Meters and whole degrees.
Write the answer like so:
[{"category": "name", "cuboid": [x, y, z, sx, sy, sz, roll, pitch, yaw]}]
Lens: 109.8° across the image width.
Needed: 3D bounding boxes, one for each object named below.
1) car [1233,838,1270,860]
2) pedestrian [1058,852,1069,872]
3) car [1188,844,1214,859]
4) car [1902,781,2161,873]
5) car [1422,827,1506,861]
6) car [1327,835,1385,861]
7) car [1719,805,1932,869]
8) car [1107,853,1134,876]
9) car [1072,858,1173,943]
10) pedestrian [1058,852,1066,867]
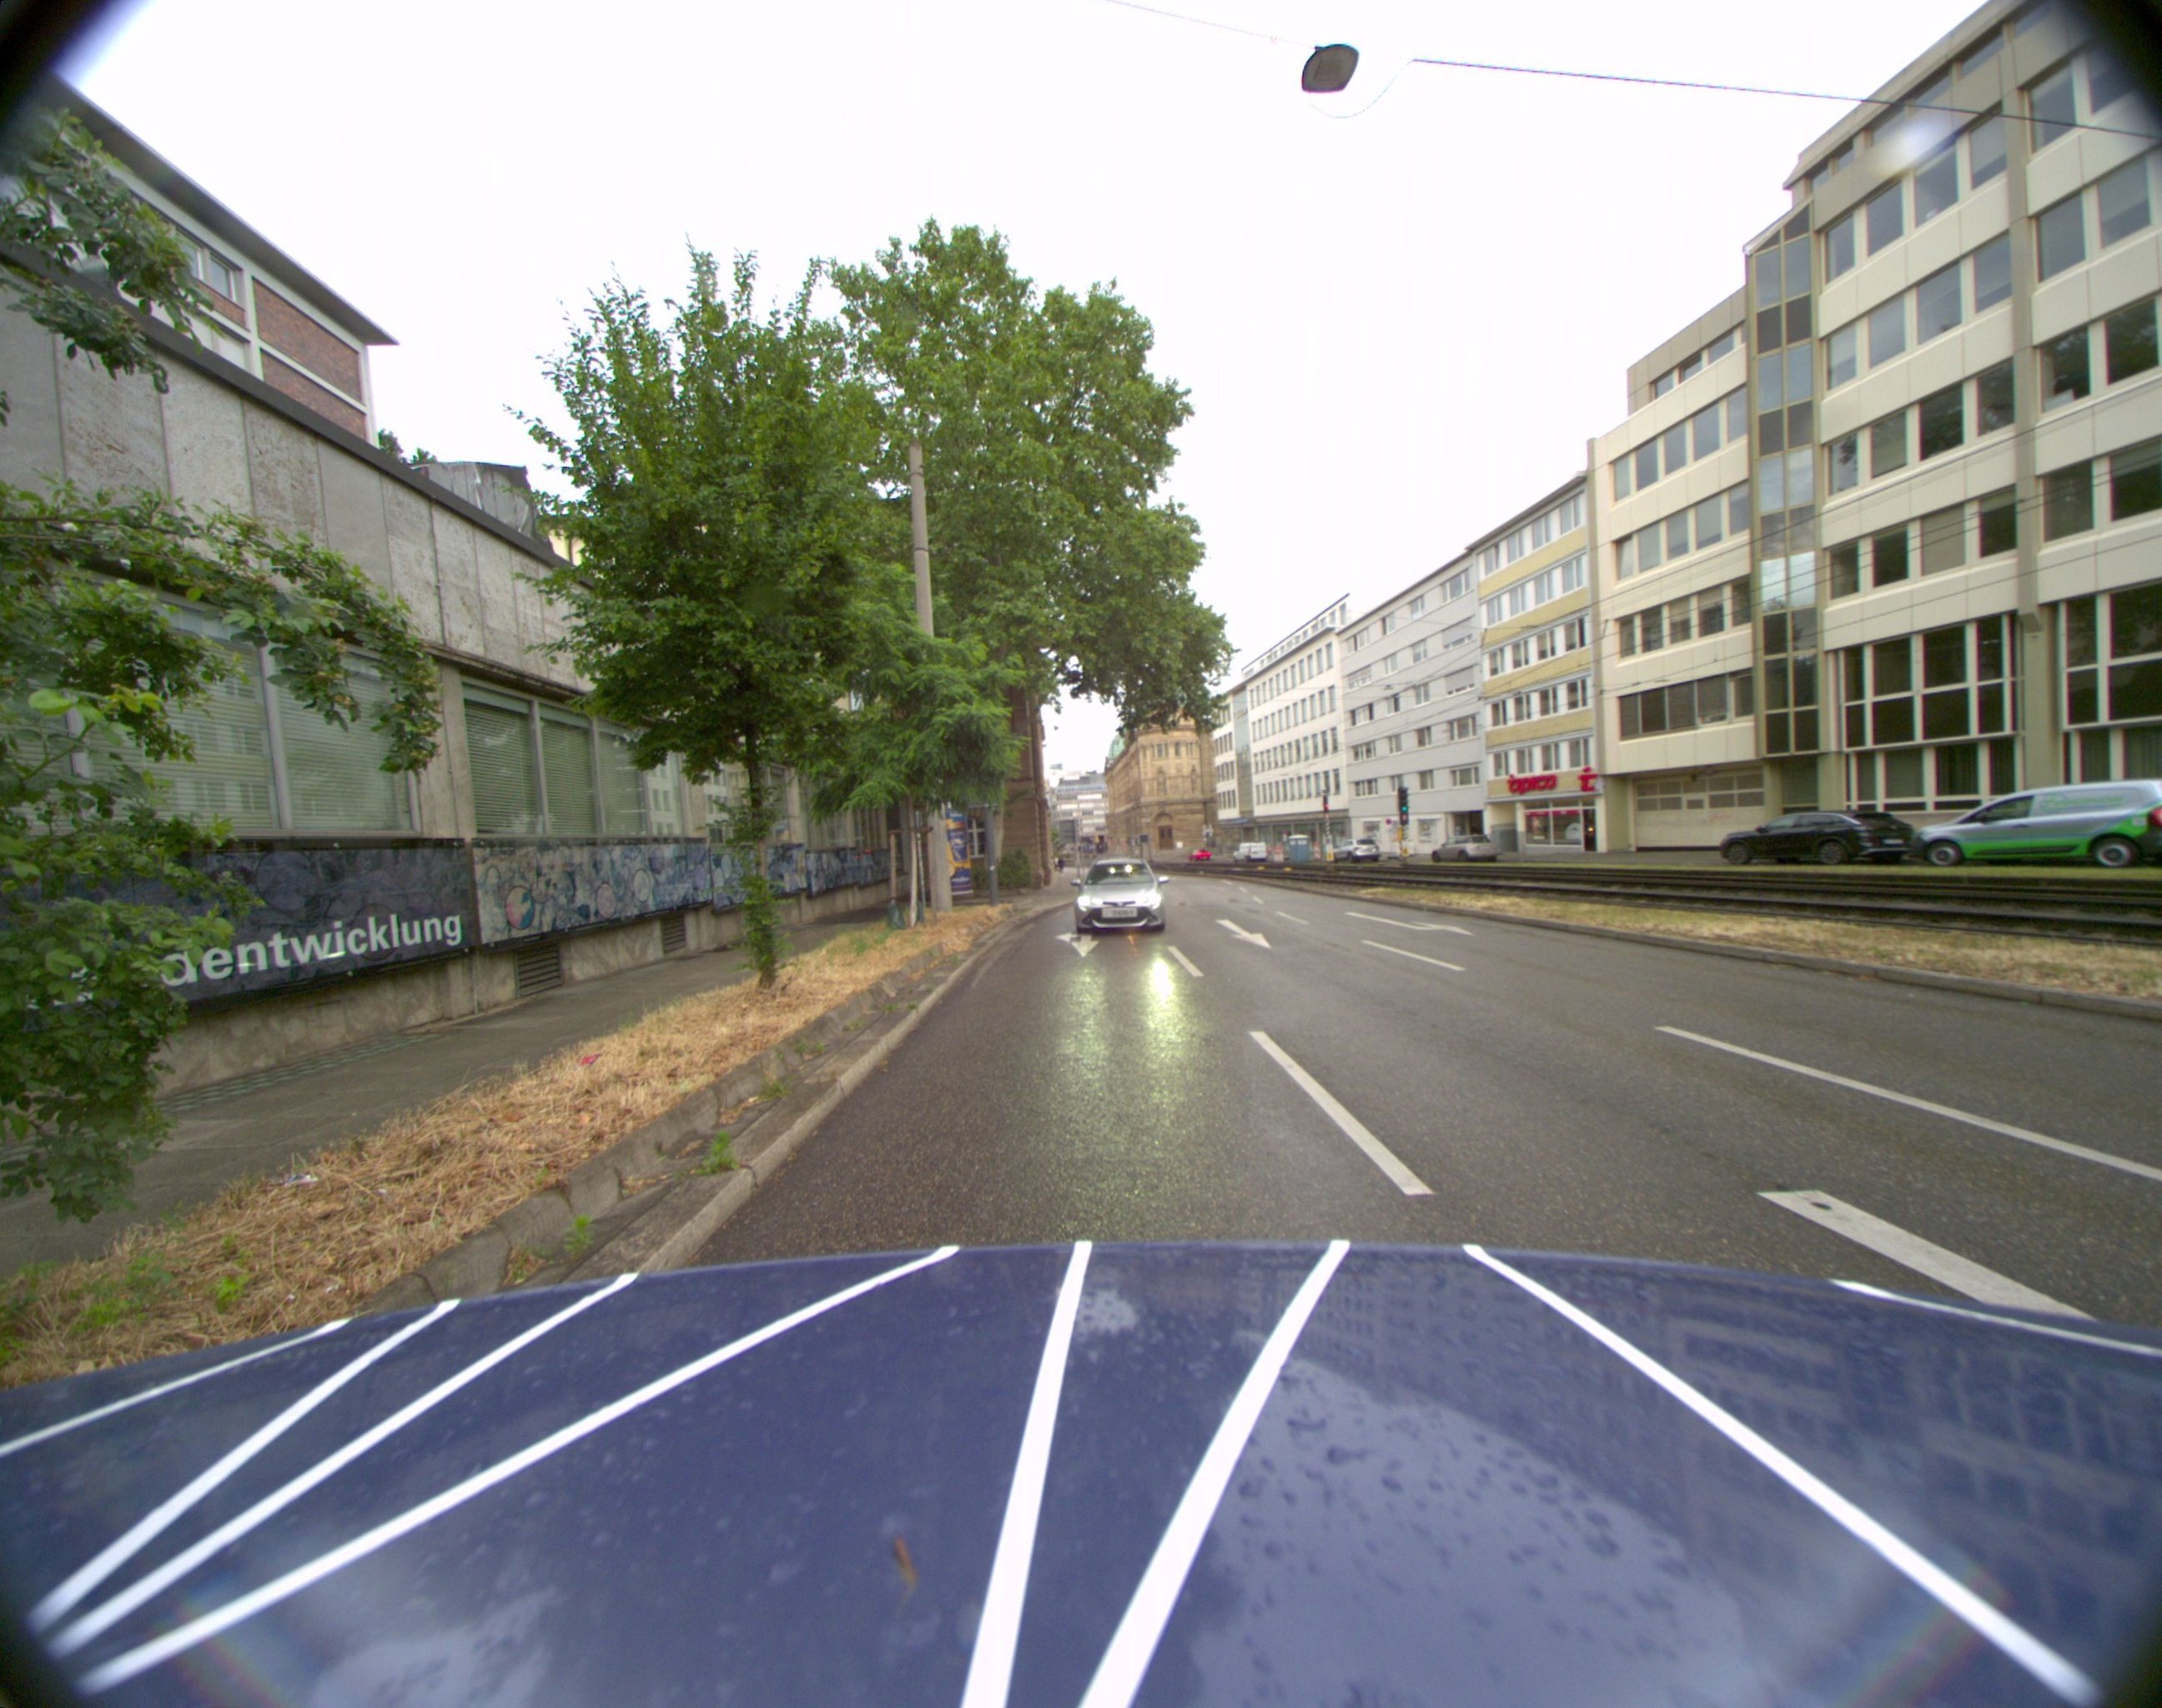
[{"category": "car", "cuboid": [16.322, -0.488, 72.959, 1.890, 1.924, 4.474, -5, 1, -7]}, {"category": "pedestrian", "cuboid": [-1.483, 0.690, 64.603, 0.719, 1.630, 0.760, -5, 2, 10]}, {"category": "car", "cuboid": [14.543, -0.351, 92.115, 1.890, 1.615, 4.474, -5, 1, -7]}, {"category": "car", "cuboid": [21.502, -0.576, 16.815, 1.801, 1.736, 4.213, -5, 1, -8]}, {"category": "car", "cuboid": [19.488, -0.487, 38.912, 1.801, 1.505, 4.075, -5, 1, -7]}, {"category": "car", "cuboid": [18.164, -0.409, 50.456, 1.890, 1.505, 4.075, -5, 1, -7]}, {"category": "car", "cuboid": [21.064, -0.460, 21.777, 1.801, 1.505, 4.075, -5, 1, -7]}, {"category": "car", "cuboid": [2.745, 0.725, 53.133, 1.654, 1.426, 3.439, -2, 1, 0]}, {"category": "car", "cuboid": [0.780, 0.872, 16.194, 1.811, 1.426, 4.297, -2, 1, 0]}, {"category": "pedestrian", "cuboid": [-2.182, 0.656, 87.433, 0.719, 1.630, 0.760, -5, 2, 1]}]
